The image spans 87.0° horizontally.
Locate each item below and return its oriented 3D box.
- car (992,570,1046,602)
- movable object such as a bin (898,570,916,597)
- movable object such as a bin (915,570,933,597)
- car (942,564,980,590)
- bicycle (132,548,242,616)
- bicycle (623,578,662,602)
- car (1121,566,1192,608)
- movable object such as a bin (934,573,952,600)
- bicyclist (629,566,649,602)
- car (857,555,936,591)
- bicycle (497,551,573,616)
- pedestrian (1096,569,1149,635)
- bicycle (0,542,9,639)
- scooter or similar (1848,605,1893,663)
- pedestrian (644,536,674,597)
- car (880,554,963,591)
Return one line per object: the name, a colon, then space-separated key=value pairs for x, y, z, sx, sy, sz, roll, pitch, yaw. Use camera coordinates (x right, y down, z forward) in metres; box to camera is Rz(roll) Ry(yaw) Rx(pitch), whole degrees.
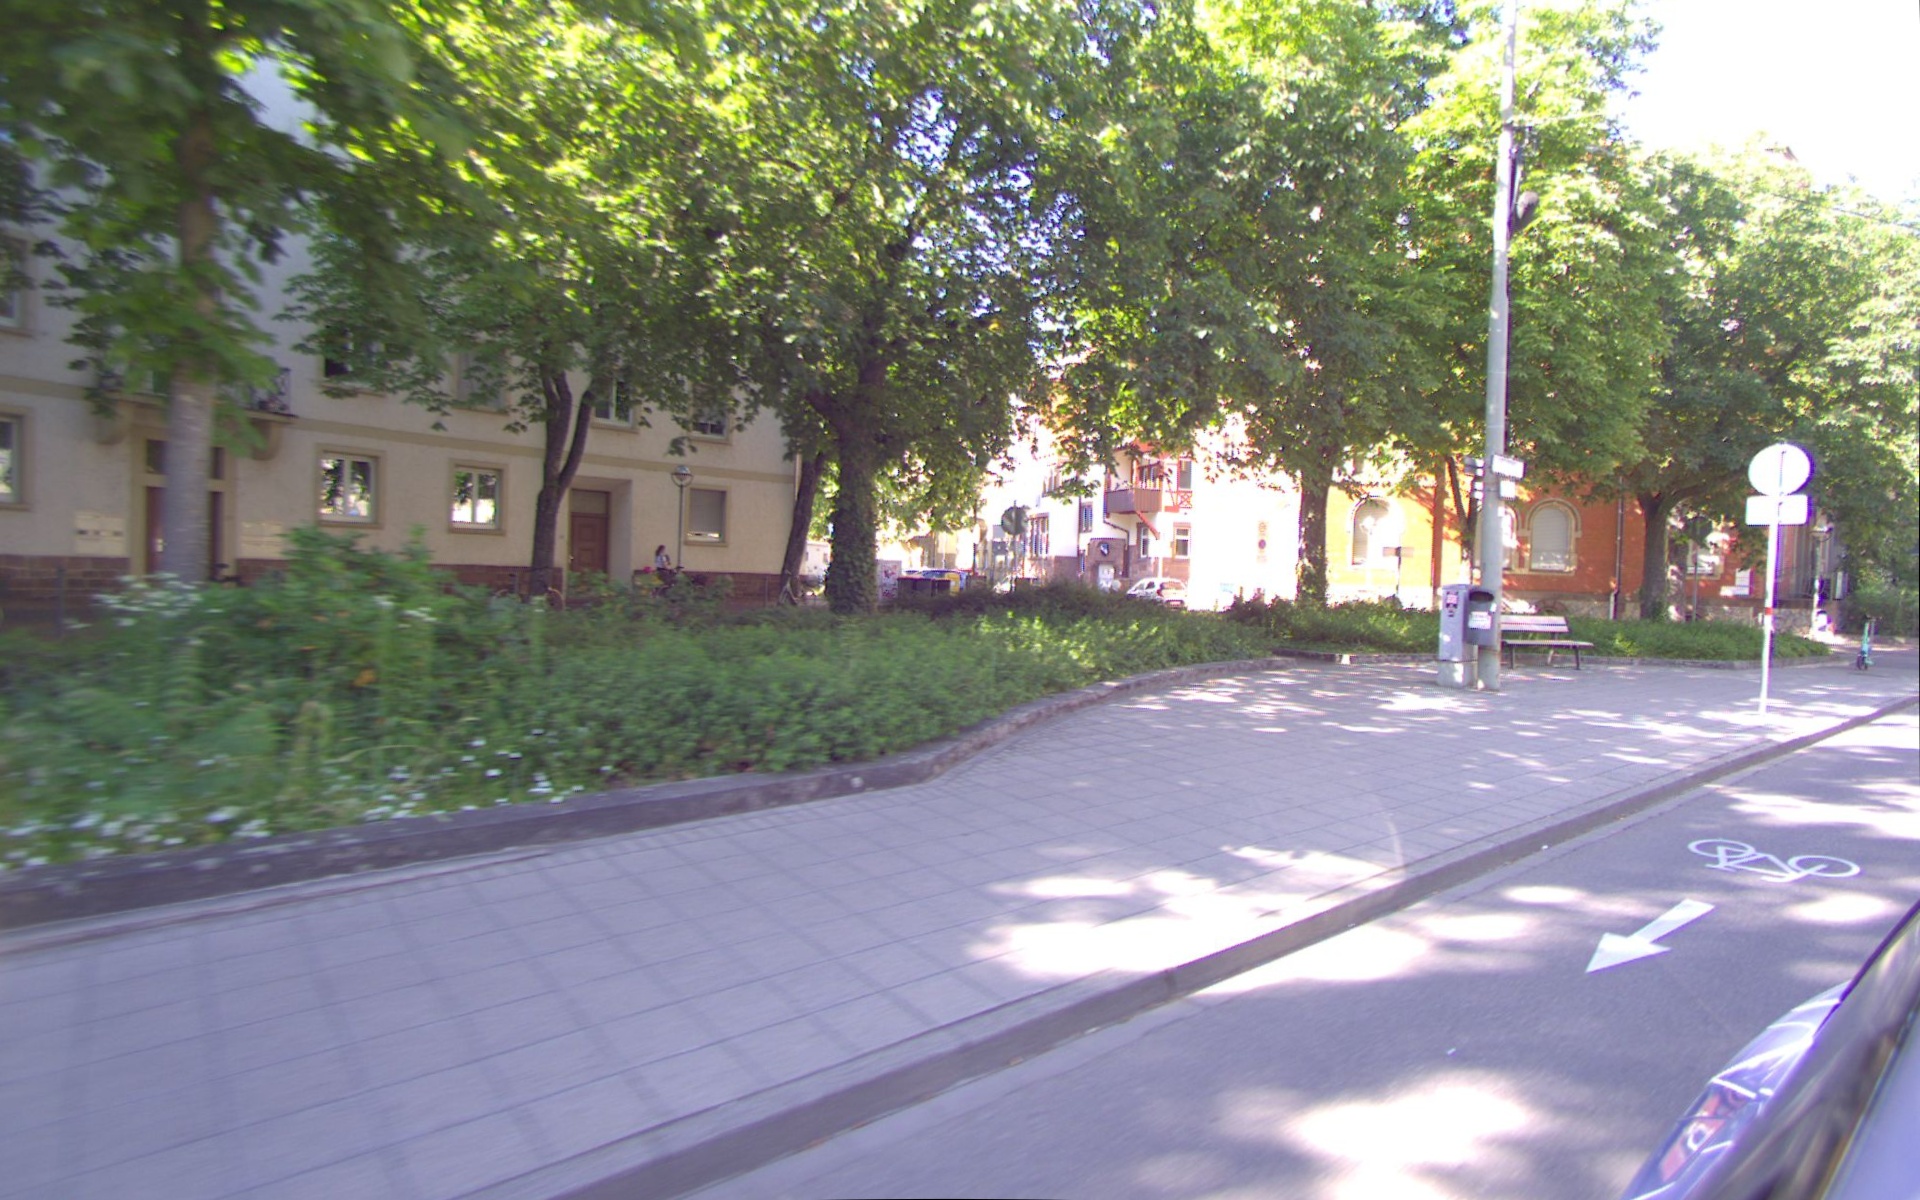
car: x=2.831 y=-0.682 z=49.283 sx=1.600 sy=1.475 sz=3.555 roll=1 pitch=1 yaw=-14
movable object such as a bin: x=-1.936 y=-0.608 z=36.762 sx=0.532 sy=0.977 sz=0.644 roll=1 pitch=0 yaw=-12
movable object such as a bin: x=-1.313 y=-0.605 z=36.915 sx=0.570 sy=0.977 sz=0.644 roll=1 pitch=0 yaw=-12
car: x=0.043 y=-1.619 z=71.145 sx=1.600 sy=1.738 sz=3.812 roll=1 pitch=1 yaw=-17
bicycle: x=-13.595 y=-0.332 z=17.845 sx=0.455 sy=1.129 sz=1.558 roll=4 pitch=3 yaw=16
bicycle: x=-8.430 y=-0.261 z=26.908 sx=0.430 sy=0.644 sz=0.905 roll=1 pitch=0 yaw=38
car: x=8.532 y=-0.555 z=44.231 sx=1.600 sy=1.738 sz=3.811 roll=1 pitch=1 yaw=-13
movable object such as a bin: x=-0.628 y=-0.493 z=37.070 sx=0.532 sy=0.977 sz=0.644 roll=1 pitch=0 yaw=-12
bicyclist: x=-8.522 y=-0.420 z=26.884 sx=0.337 sy=0.956 sz=0.388 roll=1 pitch=0 yaw=38
car: x=-2.906 y=-1.207 z=46.138 sx=3.278 sy=1.538 sz=1.503 roll=0 pitch=0 yaw=-21
bicycle: x=-8.914 y=-0.328 z=21.275 sx=0.425 sy=1.296 sz=1.472 roll=4 pitch=1 yaw=31
pedestrian: x=3.166 y=0.033 z=19.669 sx=1.022 sy=1.247 sz=0.450 roll=0 pitch=0 yaw=-39
bicycle: x=-13.315 y=-0.127 z=12.841 sx=0.422 sy=1.296 sz=1.821 roll=4 pitch=1 yaw=16
scooter or similar: x=20.650 y=0.774 z=22.949 sx=1.252 sy=1.264 sz=0.519 roll=3 pitch=0 yaw=-39
pedestrian: x=-8.384 y=-0.926 z=28.157 sx=0.618 sy=1.655 sz=0.571 roll=1 pitch=0 yaw=-40
car: x=-1.659 y=-1.168 z=43.908 sx=3.278 sy=1.538 sz=1.503 roll=0 pitch=0 yaw=-21
